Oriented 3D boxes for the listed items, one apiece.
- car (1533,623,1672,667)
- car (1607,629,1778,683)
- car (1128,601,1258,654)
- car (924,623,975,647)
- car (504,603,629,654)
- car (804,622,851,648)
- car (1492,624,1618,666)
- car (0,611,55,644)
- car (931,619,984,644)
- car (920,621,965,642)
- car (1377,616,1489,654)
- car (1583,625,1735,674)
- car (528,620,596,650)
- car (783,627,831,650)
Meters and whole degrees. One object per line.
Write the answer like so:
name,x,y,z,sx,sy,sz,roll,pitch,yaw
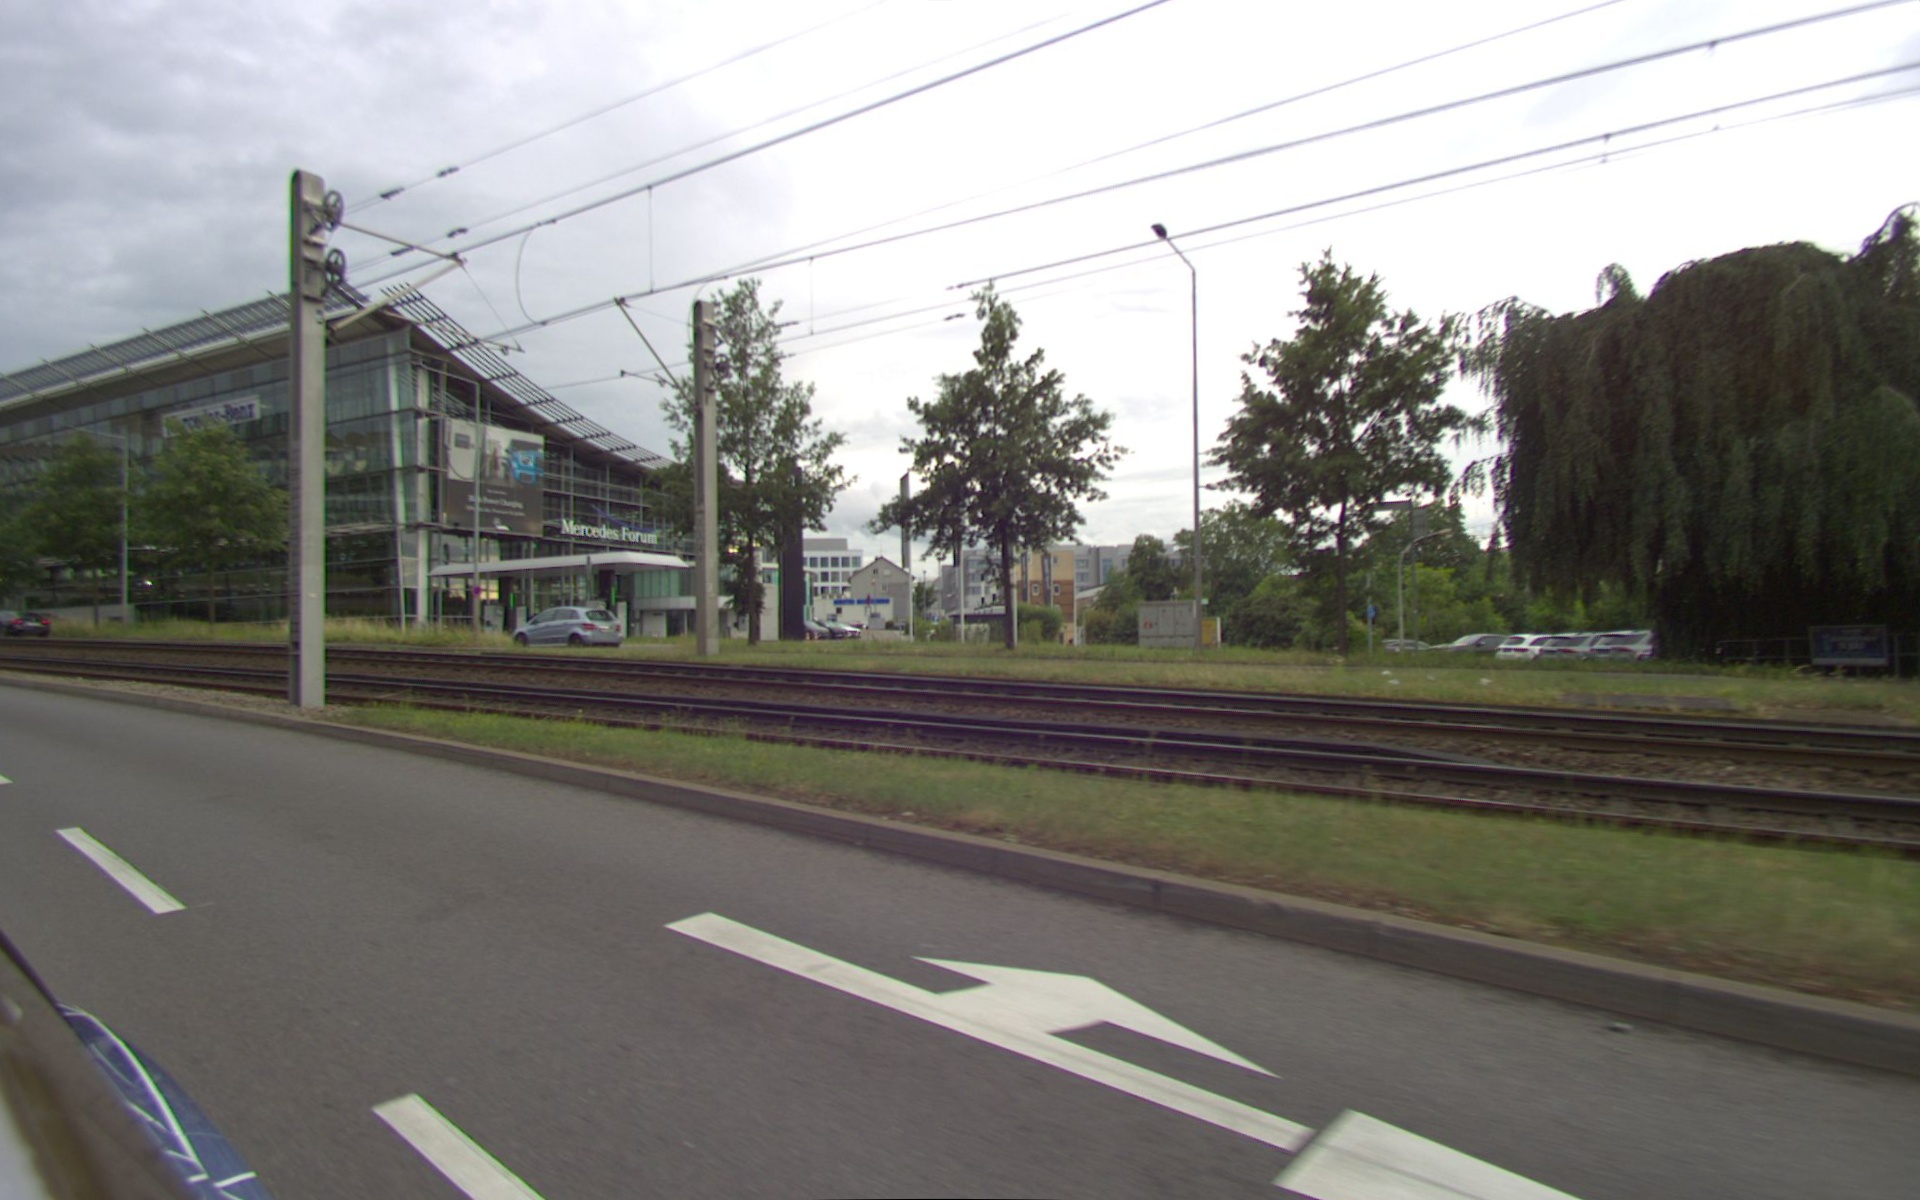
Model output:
car,23.968,1.664,37.862,3.949,1.505,1.755,1,1,5
car,23.313,1.769,32.337,3.944,1.521,2.000,1,1,1
car,8.086,0.901,35.112,3.985,1.663,1.979,1,1,31
car,-0.831,2.712,79.763,3.942,1.741,2.001,1,1,-2
car,-13.882,0.971,35.687,3.981,1.692,1.981,-1,0,28
car,-11.261,2.965,85.857,3.740,2.029,1.884,1,1,37
car,23.831,1.776,40.657,3.949,1.505,1.755,1,1,5
car,-47.698,1.394,50.858,4.383,1.532,1.871,-1,-4,28
car,-0.179,2.411,77.058,3.942,1.741,2.001,1,1,-2
car,-1.556,2.841,90.567,3.942,1.741,2.001,1,1,-2
car,20.654,1.509,44.300,3.944,1.521,2.000,1,1,1
car,24.195,1.700,35.158,3.949,1.505,1.755,1,1,5
car,-27.367,2.393,69.608,3.943,1.864,1.895,1,1,-1
car,-12.491,3.115,82.689,3.743,1.723,1.760,1,1,37
